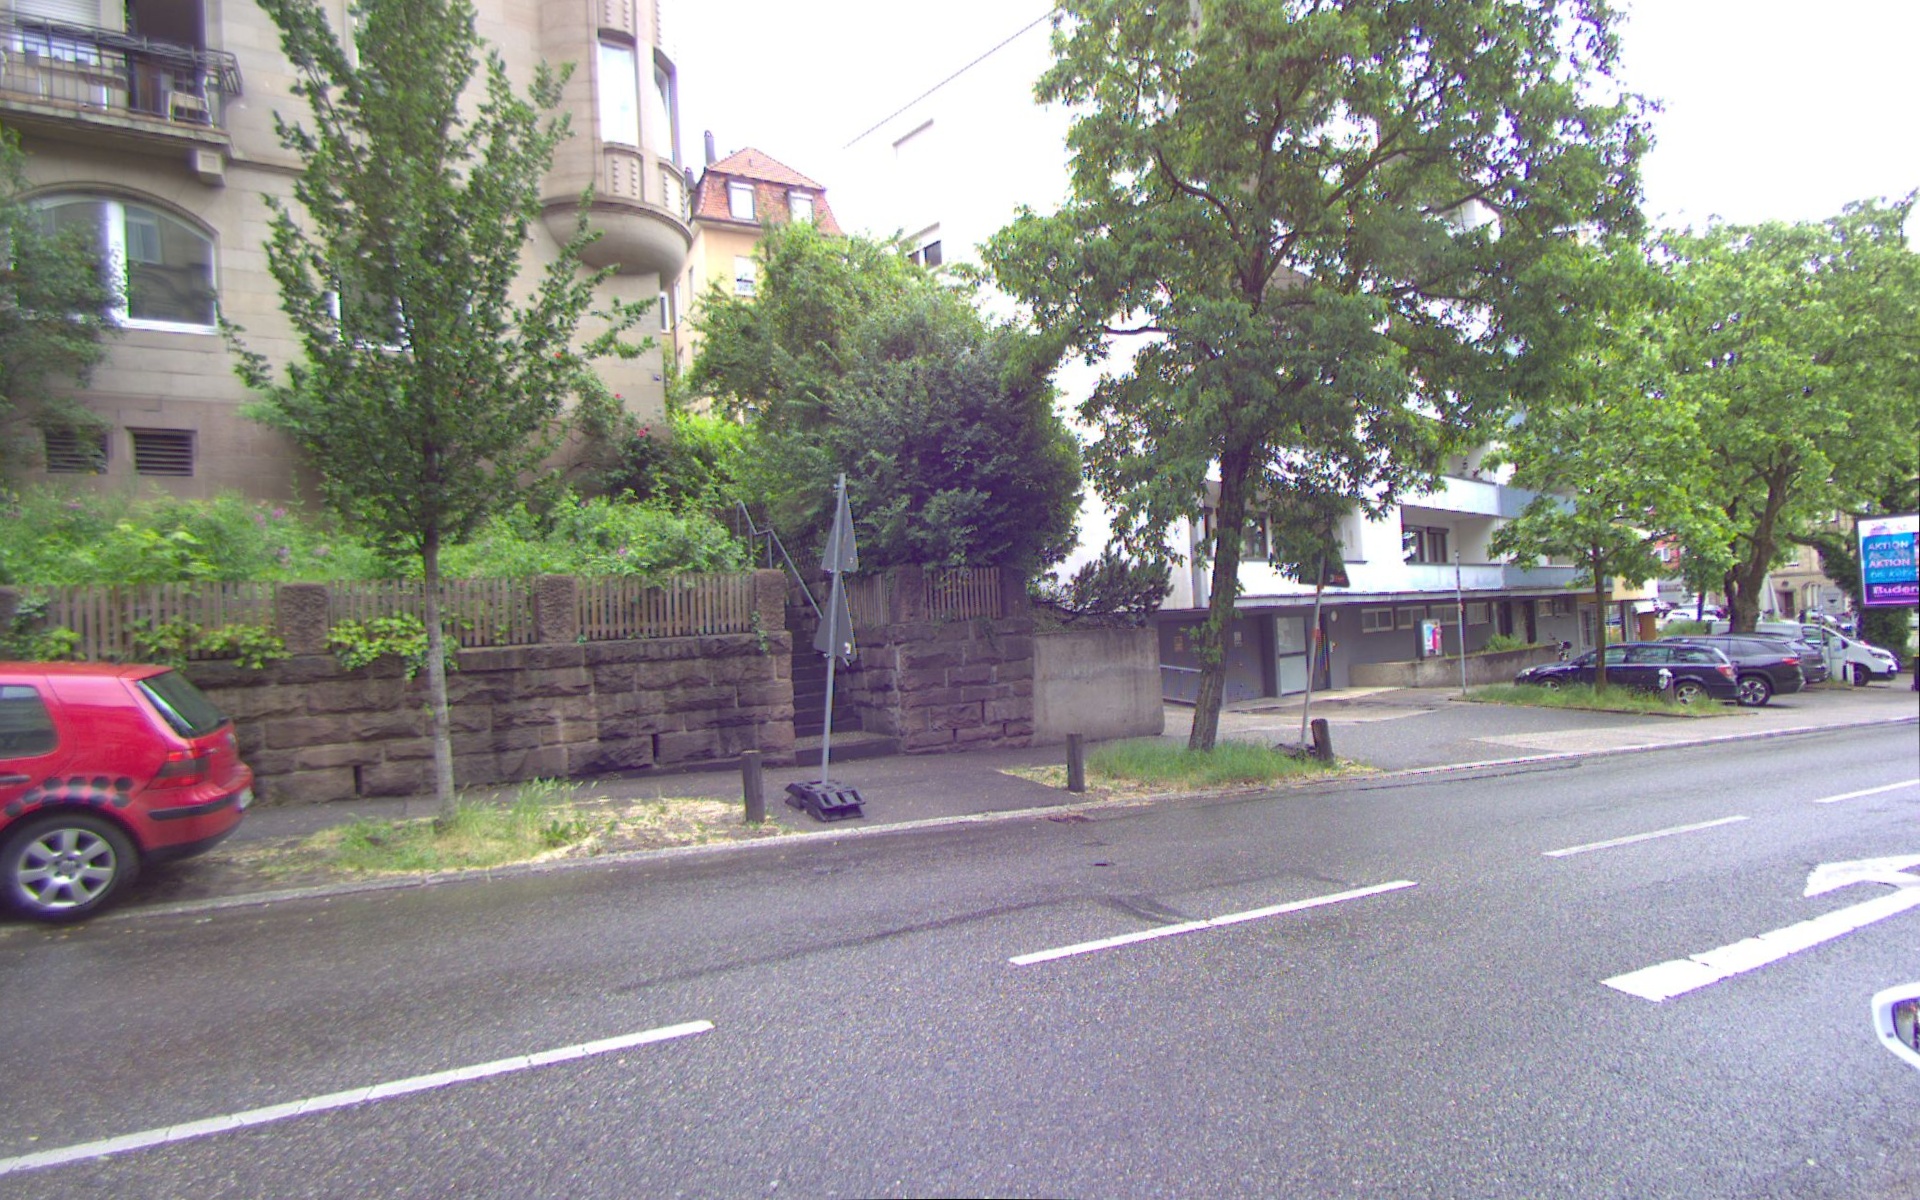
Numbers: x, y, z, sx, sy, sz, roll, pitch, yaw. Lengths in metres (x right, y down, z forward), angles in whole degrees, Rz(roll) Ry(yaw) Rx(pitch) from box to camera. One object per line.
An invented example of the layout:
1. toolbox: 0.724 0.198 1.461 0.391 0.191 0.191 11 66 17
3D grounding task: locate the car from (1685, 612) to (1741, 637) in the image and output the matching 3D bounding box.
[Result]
1. car: 69.066 2.264 92.209 1.961 2.130 4.291 -1 1 -1

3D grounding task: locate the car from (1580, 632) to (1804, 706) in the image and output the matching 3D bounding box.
1. car: 18.092 1.702 25.002 4.312 1.694 1.848 -3 -4 38

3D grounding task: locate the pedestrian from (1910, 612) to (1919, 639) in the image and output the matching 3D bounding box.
1. pedestrian: 57.632 1.527 60.306 0.707 1.597 0.537 -1 -3 -16

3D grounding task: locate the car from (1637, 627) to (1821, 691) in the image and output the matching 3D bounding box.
1. car: 23.247 1.757 30.504 4.305 1.807 1.931 -2 -3 40

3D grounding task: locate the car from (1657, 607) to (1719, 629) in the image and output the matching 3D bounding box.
1. car: 60.365 1.505 83.381 1.961 1.749 4.249 -2 -1 -1

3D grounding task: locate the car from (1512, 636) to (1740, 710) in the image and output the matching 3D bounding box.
1. car: 15.677 1.701 23.760 4.303 1.594 1.935 -3 -4 38

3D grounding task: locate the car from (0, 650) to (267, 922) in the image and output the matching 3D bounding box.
1. car: -6.542 1.052 5.799 4.015 1.470 1.606 1 -2 -30

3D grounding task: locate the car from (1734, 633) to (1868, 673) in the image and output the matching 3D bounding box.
1. car: 32.914 2.049 39.420 3.925 1.469 1.761 -2 -3 40

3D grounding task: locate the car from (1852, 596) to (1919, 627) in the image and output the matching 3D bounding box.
1. car: 69.303 0.824 74.801 1.961 2.130 4.291 -1 1 -1

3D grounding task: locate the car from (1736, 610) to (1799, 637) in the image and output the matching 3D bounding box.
1. car: 69.467 1.985 86.479 1.961 2.130 4.291 -1 1 -1

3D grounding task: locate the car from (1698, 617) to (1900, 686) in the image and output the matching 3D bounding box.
1. car: 27.715 1.691 33.385 5.000 2.132 1.983 -2 -3 40

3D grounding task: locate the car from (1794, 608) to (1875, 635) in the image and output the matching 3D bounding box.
1. car: 60.474 1.438 69.538 1.960 1.749 4.250 -1 0 1
